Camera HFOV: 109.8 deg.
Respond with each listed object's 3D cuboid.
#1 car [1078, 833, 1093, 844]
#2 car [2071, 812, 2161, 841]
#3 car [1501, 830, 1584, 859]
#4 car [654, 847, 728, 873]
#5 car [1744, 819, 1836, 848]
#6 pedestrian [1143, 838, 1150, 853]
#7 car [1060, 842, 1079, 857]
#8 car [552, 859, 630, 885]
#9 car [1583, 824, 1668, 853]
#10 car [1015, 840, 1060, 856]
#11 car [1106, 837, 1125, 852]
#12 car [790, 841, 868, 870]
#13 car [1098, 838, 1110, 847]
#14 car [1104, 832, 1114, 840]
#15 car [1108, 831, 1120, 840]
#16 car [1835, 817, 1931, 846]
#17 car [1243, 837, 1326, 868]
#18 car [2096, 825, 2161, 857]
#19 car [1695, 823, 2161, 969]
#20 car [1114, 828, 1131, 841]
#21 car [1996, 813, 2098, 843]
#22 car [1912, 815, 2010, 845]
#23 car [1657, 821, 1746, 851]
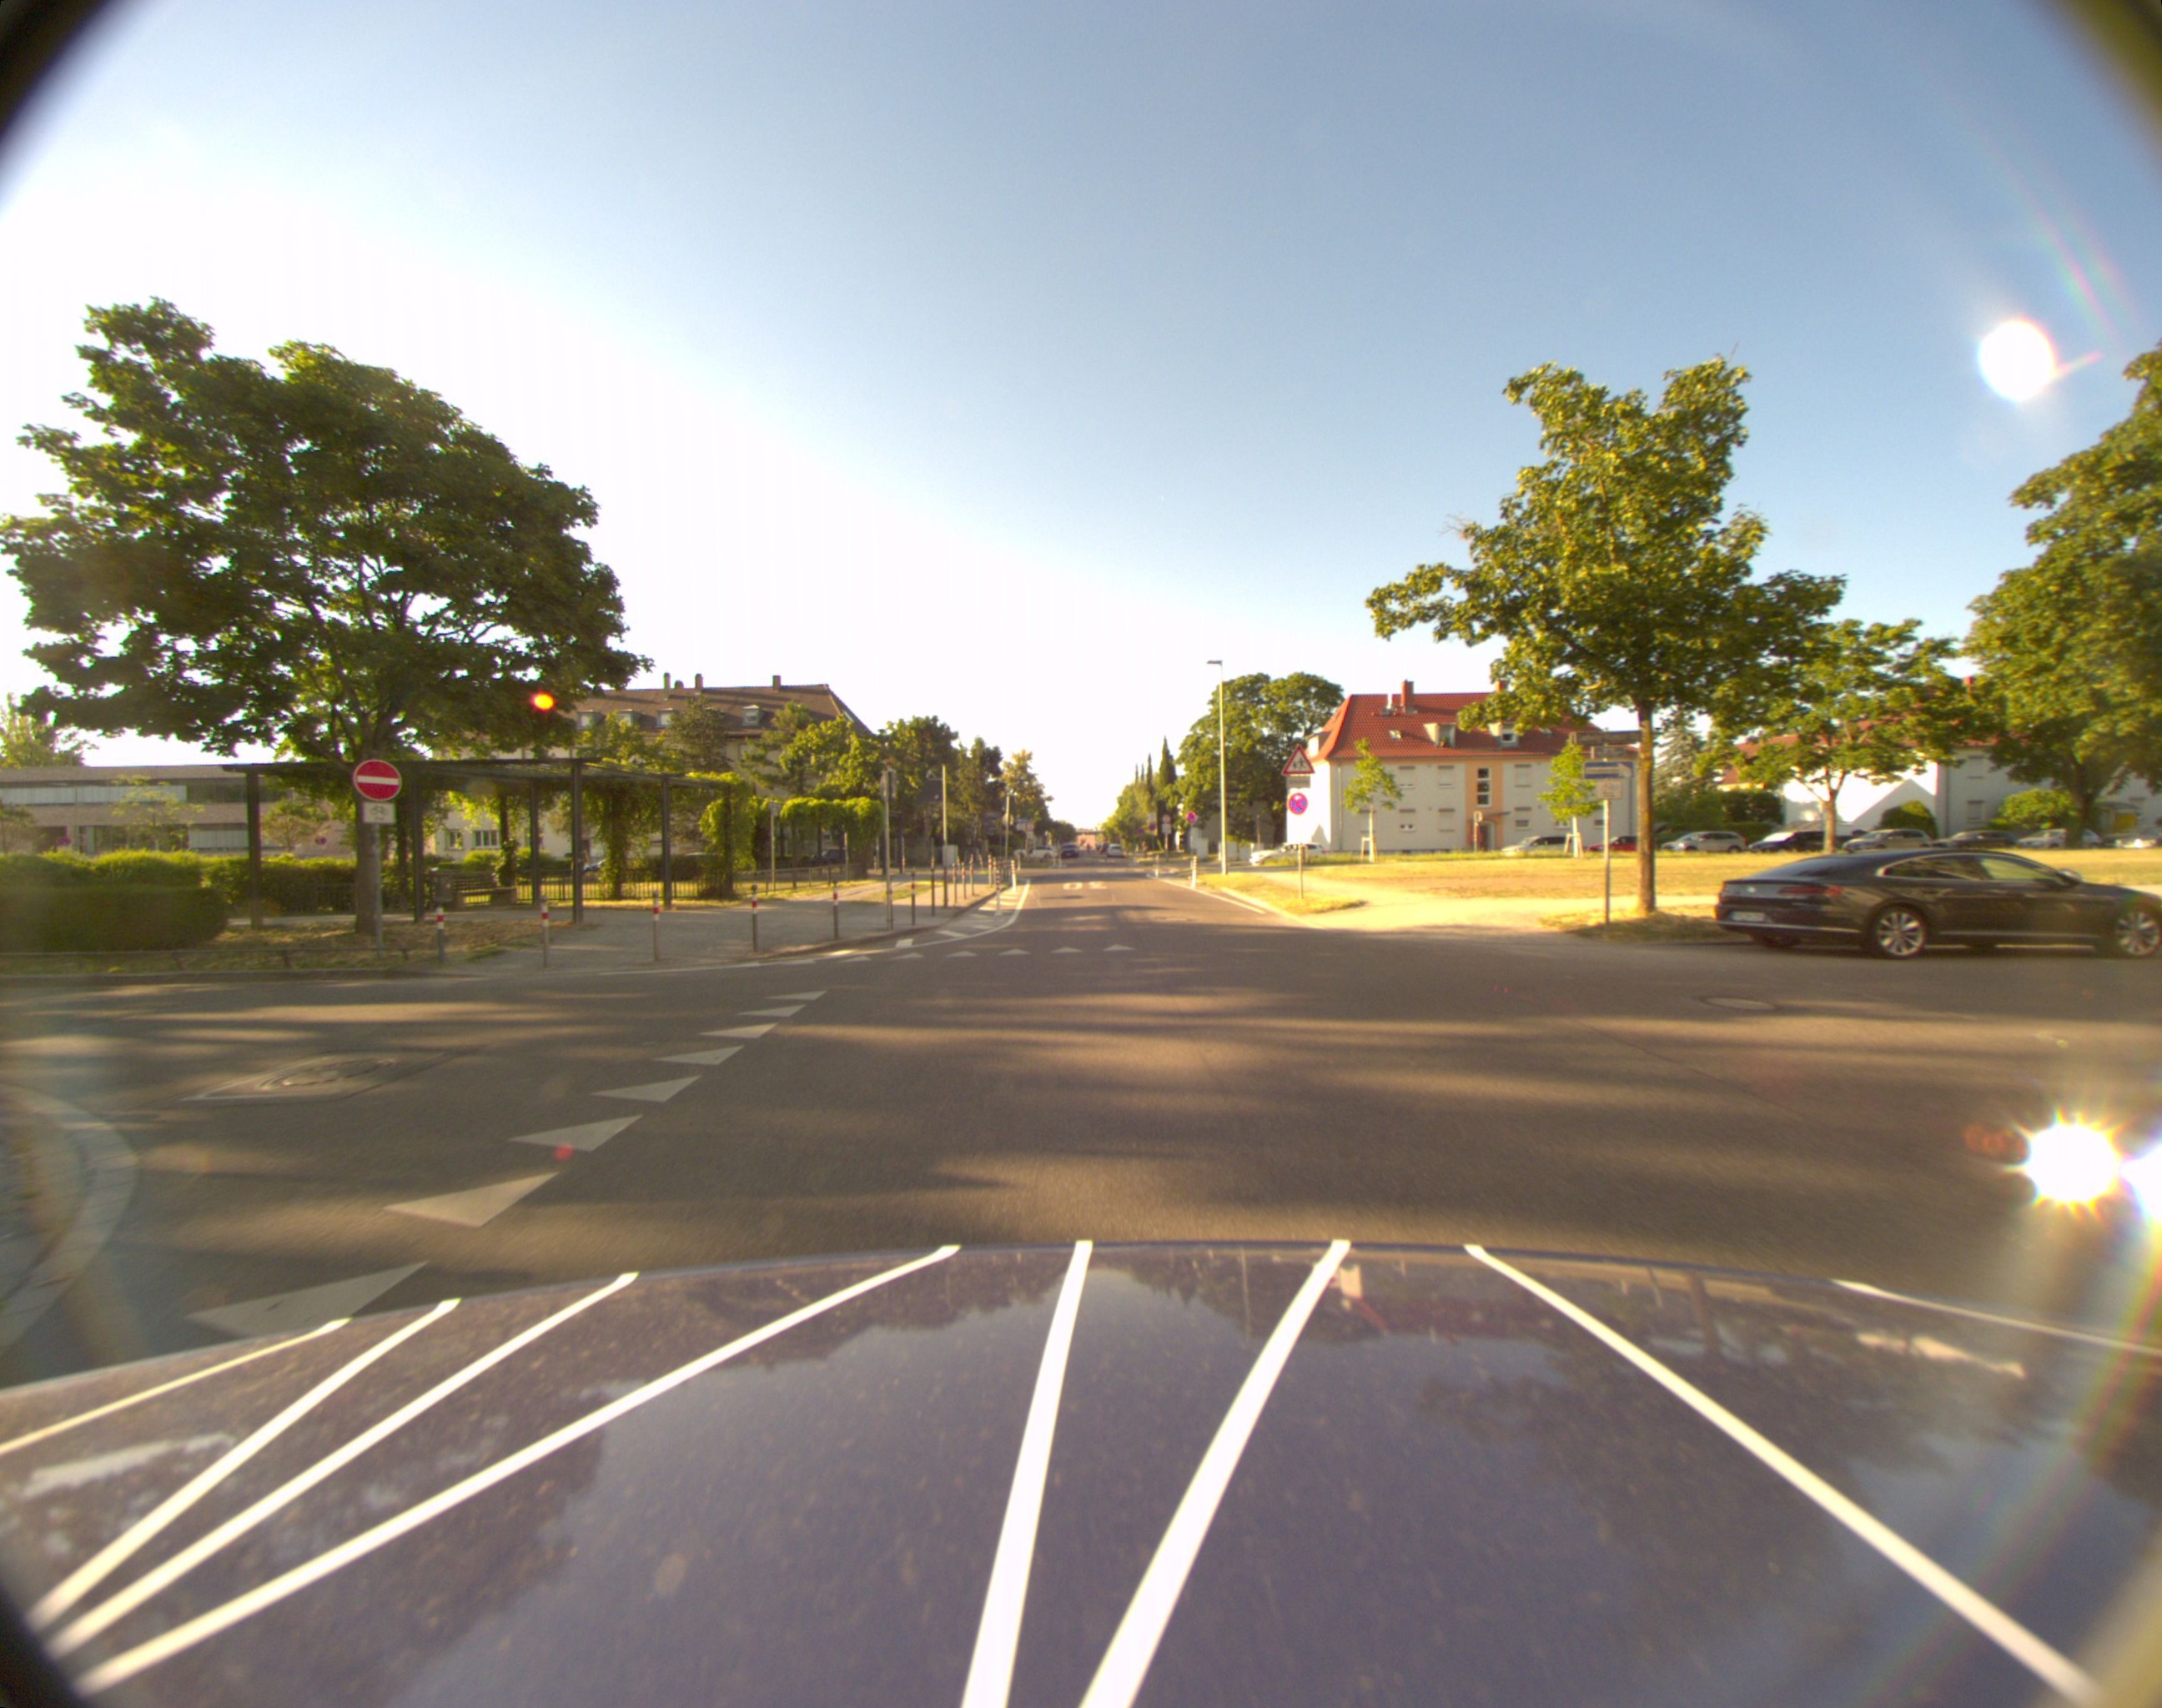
[{"bbox_3d":[0.682,-2.372,114.753,1.971,1.605,4.245,-2,1,-3],"label":"car"},{"bbox_3d":[65.149,-1.725,47.546,3.997,1.685,1.851,-2,0,-1],"label":"car"},{"bbox_3d":[28.635,-0.590,47.222,3.997,1.685,1.851,-2,0,-1],"label":"car"},{"bbox_3d":[-24.987,0.362,48.693,3.769,1.518,1.770,-1,3,4],"label":"car"},{"bbox_3d":[43.938,-1.255,47.129,3.997,1.685,1.851,-2,0,-1],"label":"car"},{"bbox_3d":[8.971,-1.163,104.536,0.898,2.002,0.692,-1,2,2],"label":"pedestrian"},{"bbox_3d":[-1.342,-0.564,86.666,1.971,1.605,4.245,-2,1,-3],"label":"car"},{"bbox_3d":[-31.181,1.136,48.403,3.757,1.509,1.735,-1,2,1],"label":"car"},{"bbox_3d":[33.870,-0.944,47.327,3.997,1.685,1.851,-2,0,-1],"label":"car"},{"bbox_3d":[-4.673,-0.637,82.586,4.835,1.605,1.971,-1,2,-1],"label":"car"},{"bbox_3d":[3.958,-1.138,87.787,1.970,1.605,4.246,-2,1,0],"label":"car"},{"bbox_3d":[-15.816,0.108,47.811,4.213,1.631,1.823,-2,-1,-1],"label":"car"},{"bbox_3d":[4.007,-2.007,133.239,1.970,1.605,4.246,-2,1,0],"label":"car"},{"bbox_3d":[6.086,-3.876,164.264,1.970,1.605,4.246,-2,1,0],"label":"car"},{"bbox_3d":[6.416,-3.569,148.576,1.970,1.605,4.245,-2,1,-1],"label":"car"},{"bbox_3d":[49.730,-1.382,47.153,3.997,1.685,1.851,-2,0,-1],"label":"car"},{"bbox_3d":[11.752,-0.076,44.062,4.298,1.685,1.871,-2,0,-1],"label":"car"},{"bbox_3d":[61.467,-0.762,43.855,3.342,1.707,1.806,-2,3,0],"label":"car"},{"bbox_3d":[11.354,0.494,10.138,4.835,1.660,1.788,-1,2,1],"label":"car"},{"bbox_3d":[5.501,-2.584,101.939,1.970,1.605,4.246,-2,1,0],"label":"car"},{"bbox_3d":[60.093,-1.624,47.315,3.997,1.685,1.851,-2,0,-1],"label":"car"},{"bbox_3d":[54.804,-1.456,47.383,3.997,1.685,1.851,-2,0,-1],"label":"car"},{"bbox_3d":[38.421,-1.105,47.108,3.997,1.685,1.851,-2,0,-1],"label":"car"}]
